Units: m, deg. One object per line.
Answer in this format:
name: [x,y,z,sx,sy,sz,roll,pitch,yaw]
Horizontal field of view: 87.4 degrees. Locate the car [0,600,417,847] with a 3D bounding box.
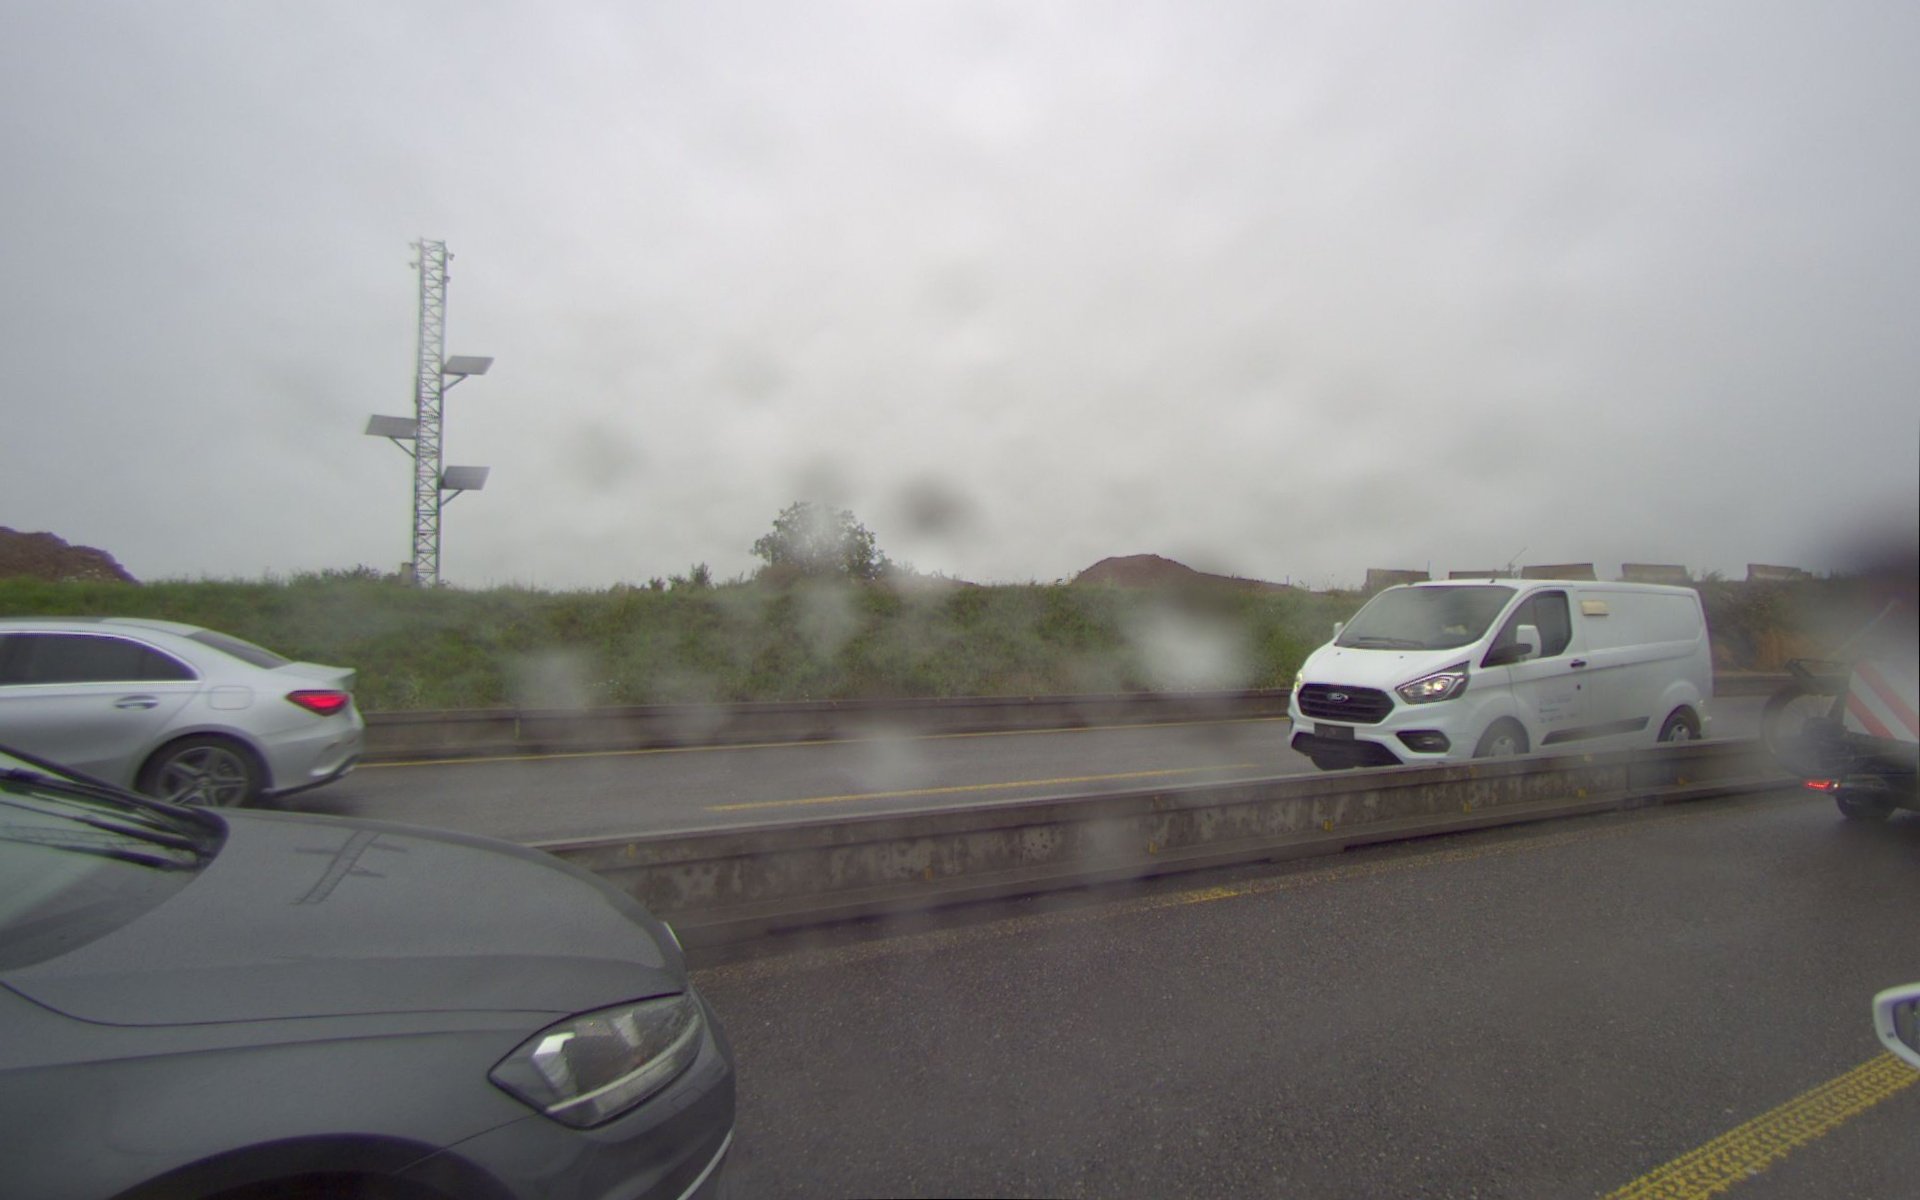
car: [-6.398,0.771,7.097,4.480,1.521,1.985,2,-1,-29]

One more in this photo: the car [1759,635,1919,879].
car: [8.546,1.033,7.781,5.560,1.482,1.727,0,0,-29]

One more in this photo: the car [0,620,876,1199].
car: [-2.309,0.746,1.503,4.033,1.441,1.641,2,-2,-31]

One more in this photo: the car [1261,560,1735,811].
car: [5.555,0.720,10.197,4.911,2.026,1.984,1,0,-30]
